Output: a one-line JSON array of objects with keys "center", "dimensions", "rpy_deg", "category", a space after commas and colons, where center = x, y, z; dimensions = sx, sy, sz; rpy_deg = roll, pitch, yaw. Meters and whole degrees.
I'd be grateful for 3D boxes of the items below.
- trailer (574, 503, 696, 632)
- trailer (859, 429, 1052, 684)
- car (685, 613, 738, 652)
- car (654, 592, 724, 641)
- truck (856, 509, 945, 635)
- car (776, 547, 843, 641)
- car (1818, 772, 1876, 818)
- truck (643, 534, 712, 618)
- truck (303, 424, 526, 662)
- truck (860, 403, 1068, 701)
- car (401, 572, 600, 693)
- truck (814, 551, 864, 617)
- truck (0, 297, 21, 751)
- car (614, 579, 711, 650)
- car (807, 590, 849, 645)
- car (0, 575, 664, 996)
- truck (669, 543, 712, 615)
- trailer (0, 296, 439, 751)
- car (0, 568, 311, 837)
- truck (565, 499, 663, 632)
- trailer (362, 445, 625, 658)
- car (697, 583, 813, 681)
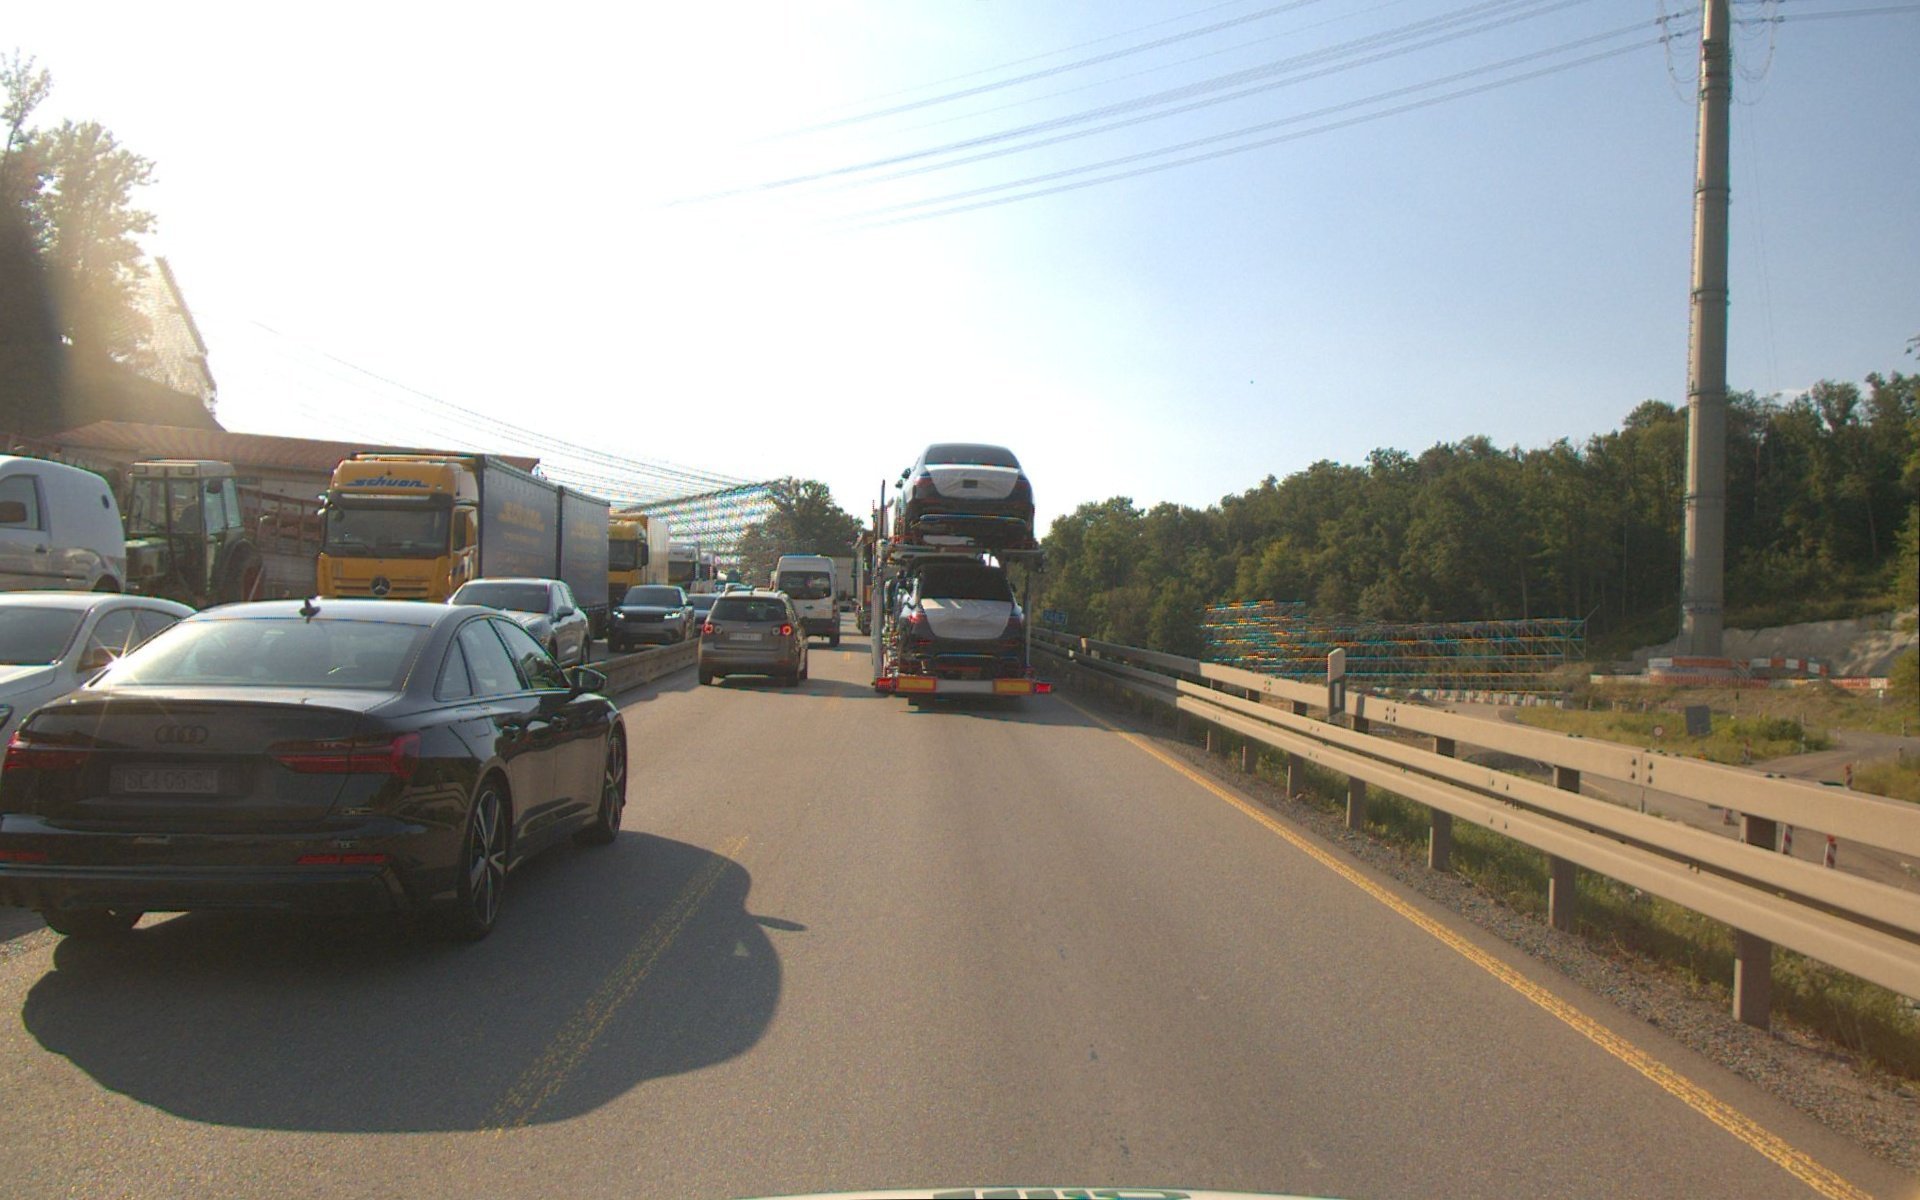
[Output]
[{"center": [-12.182, -0.983, 63.509], "dimensions": [2.648, 4.278, 15.981], "rpy_deg": [1, -1, -4], "category": "trailer"}, {"center": [-0.526, -0.591, 34.213], "dimensions": [2.818, 4.064, 15.264], "rpy_deg": [1, -1, -4], "category": "trailer"}, {"center": [-10.008, 1.303, 66.955], "dimensions": [1.762, 1.478, 4.611], "rpy_deg": [1, -1, -4], "category": "car"}, {"center": [-8.926, 0.555, 54.845], "dimensions": [1.753, 1.524, 4.721], "rpy_deg": [1, -1, -3], "category": "car"}, {"center": [-2.641, -1.133, 69.115], "dimensions": [3.165, 4.758, 11.685], "rpy_deg": [1, 1, -4], "category": "truck"}, {"center": [-4.565, -0.140, 50.416], "dimensions": [1.940, 2.731, 4.143], "rpy_deg": [1, -1, -5], "category": "car"}, {"center": [36.674, 8.029, 68.323], "dimensions": [1.500, 1.486, 4.250], "rpy_deg": [0, -1, 37], "category": "car"}, {"center": [-14.894, -1.116, 88.043], "dimensions": [2.755, 4.040, 13.872], "rpy_deg": [1, -1, -6], "category": "truck"}, {"center": [-10.460, -0.973, 32.327], "dimensions": [2.647, 4.213, 5.790], "rpy_deg": [1, -1, -3], "category": "truck"}, {"center": [0.015, -0.618, 25.474], "dimensions": [2.811, 4.050, 5.770], "rpy_deg": [0, -1, -1], "category": "truck"}, {"center": [-6.948, 0.491, 25.546], "dimensions": [1.920, 1.673, 4.845], "rpy_deg": [1, -1, -3], "category": "car"}, {"center": [-9.339, -1.223, 127.094], "dimensions": [3.577, 4.758, 11.685], "rpy_deg": [1, 1, -5], "category": "truck"}, {"center": [-9.429, -0.654, 10.822], "dimensions": [2.693, 3.872, 7.109], "rpy_deg": [0, 0, -2], "category": "truck"}, {"center": [-7.654, 0.393, 42.950], "dimensions": [1.888, 1.731, 4.688], "rpy_deg": [1, -1, -3], "category": "car"}, {"center": [-5.251, 0.688, 65.441], "dimensions": [1.499, 2.049, 3.995], "rpy_deg": [3, -1, -6], "category": "car"}, {"center": [-2.921, 0.685, 8.554], "dimensions": [1.901, 1.506, 5.221], "rpy_deg": [0, 0, -1], "category": "car"}, {"center": [-16.913, -1.277, 104.180], "dimensions": [2.397, 4.346, 6.311], "rpy_deg": [1, -1, -7], "category": "truck"}, {"center": [-9.679, -0.620, 19.132], "dimensions": [2.693, 3.882, 16.040], "rpy_deg": [0, 0, -2], "category": "trailer"}, {"center": [-6.438, 0.622, 11.781], "dimensions": [1.766, 1.548, 4.816], "rpy_deg": [-1, -1, -1], "category": "car"}, {"center": [-11.567, -1.086, 55.580], "dimensions": [2.641, 4.270, 4.393], "rpy_deg": [1, -1, -5], "category": "truck"}, {"center": [-10.939, -0.848, 41.173], "dimensions": [2.660, 4.207, 16.740], "rpy_deg": [1, -1, -3], "category": "trailer"}, {"center": [-3.557, 0.555, 29.325], "dimensions": [1.666, 1.615, 4.145], "rpy_deg": [0, -1, -2], "category": "car"}]
